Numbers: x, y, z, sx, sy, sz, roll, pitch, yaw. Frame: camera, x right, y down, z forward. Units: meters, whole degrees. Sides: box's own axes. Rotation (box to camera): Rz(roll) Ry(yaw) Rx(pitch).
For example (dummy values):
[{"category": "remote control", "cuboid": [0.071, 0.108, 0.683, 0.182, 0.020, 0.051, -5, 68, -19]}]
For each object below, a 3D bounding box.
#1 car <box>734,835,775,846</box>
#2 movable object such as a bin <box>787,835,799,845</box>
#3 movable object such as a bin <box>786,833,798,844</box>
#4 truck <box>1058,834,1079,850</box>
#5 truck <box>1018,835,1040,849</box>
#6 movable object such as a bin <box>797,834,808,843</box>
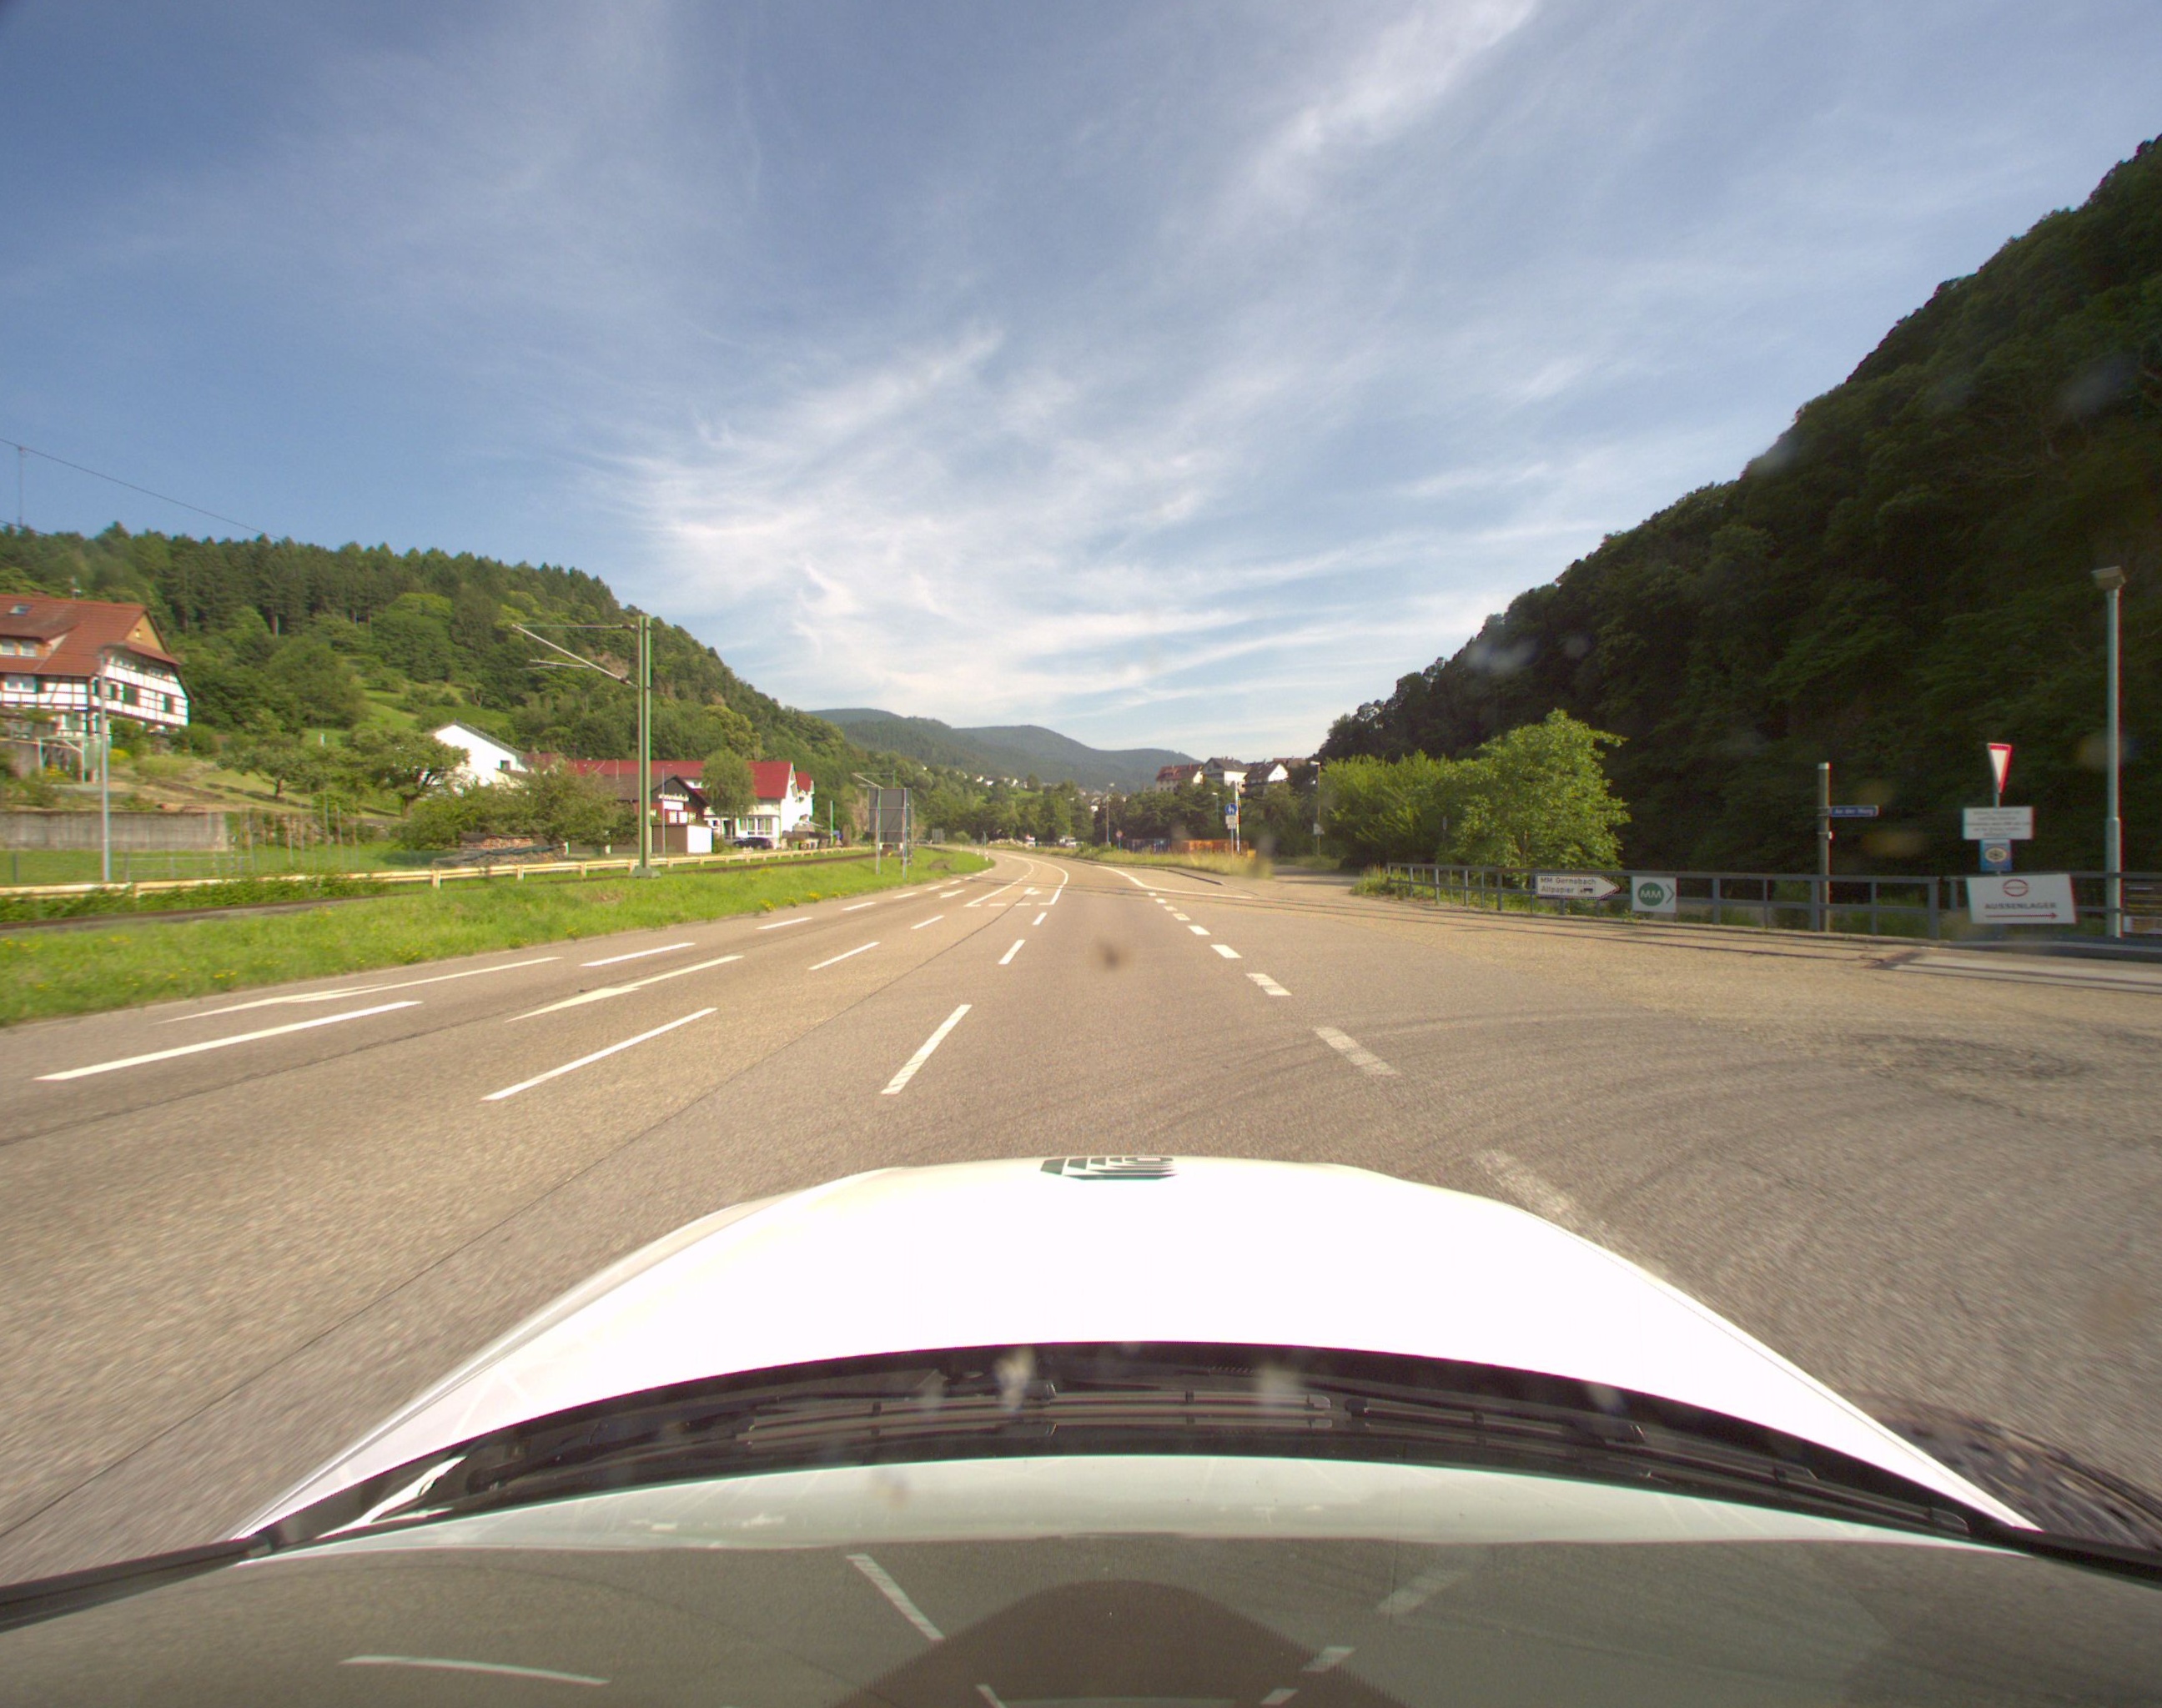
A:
[{"category": "car", "cuboid": [-38.122, -1.554, 95.158, 4.093, 1.270, 1.732, 0, 1, -9]}, {"category": "movable object such as a bin", "cuboid": [-32.702, -1.607, 92.465, 1.142, 1.192, 1.087, 0, 0, -16]}, {"category": "movable object such as a bin", "cuboid": [-32.399, -1.751, 91.275, 1.142, 1.192, 1.087, 0, 0, -16]}, {"category": "truck", "cuboid": [-3.053, -2.976, 196.632, 3.108, 3.781, 8.602, 0, 1, -15]}, {"category": "truck", "cuboid": [-13.724, -3.176, 213.123, 3.117, 3.781, 8.578, 0, 1, -24]}, {"category": "movable object such as a bin", "cuboid": [-35.385, -1.963, 103.530, 1.090, 1.192, 1.139, 0, 0, -10]}]
